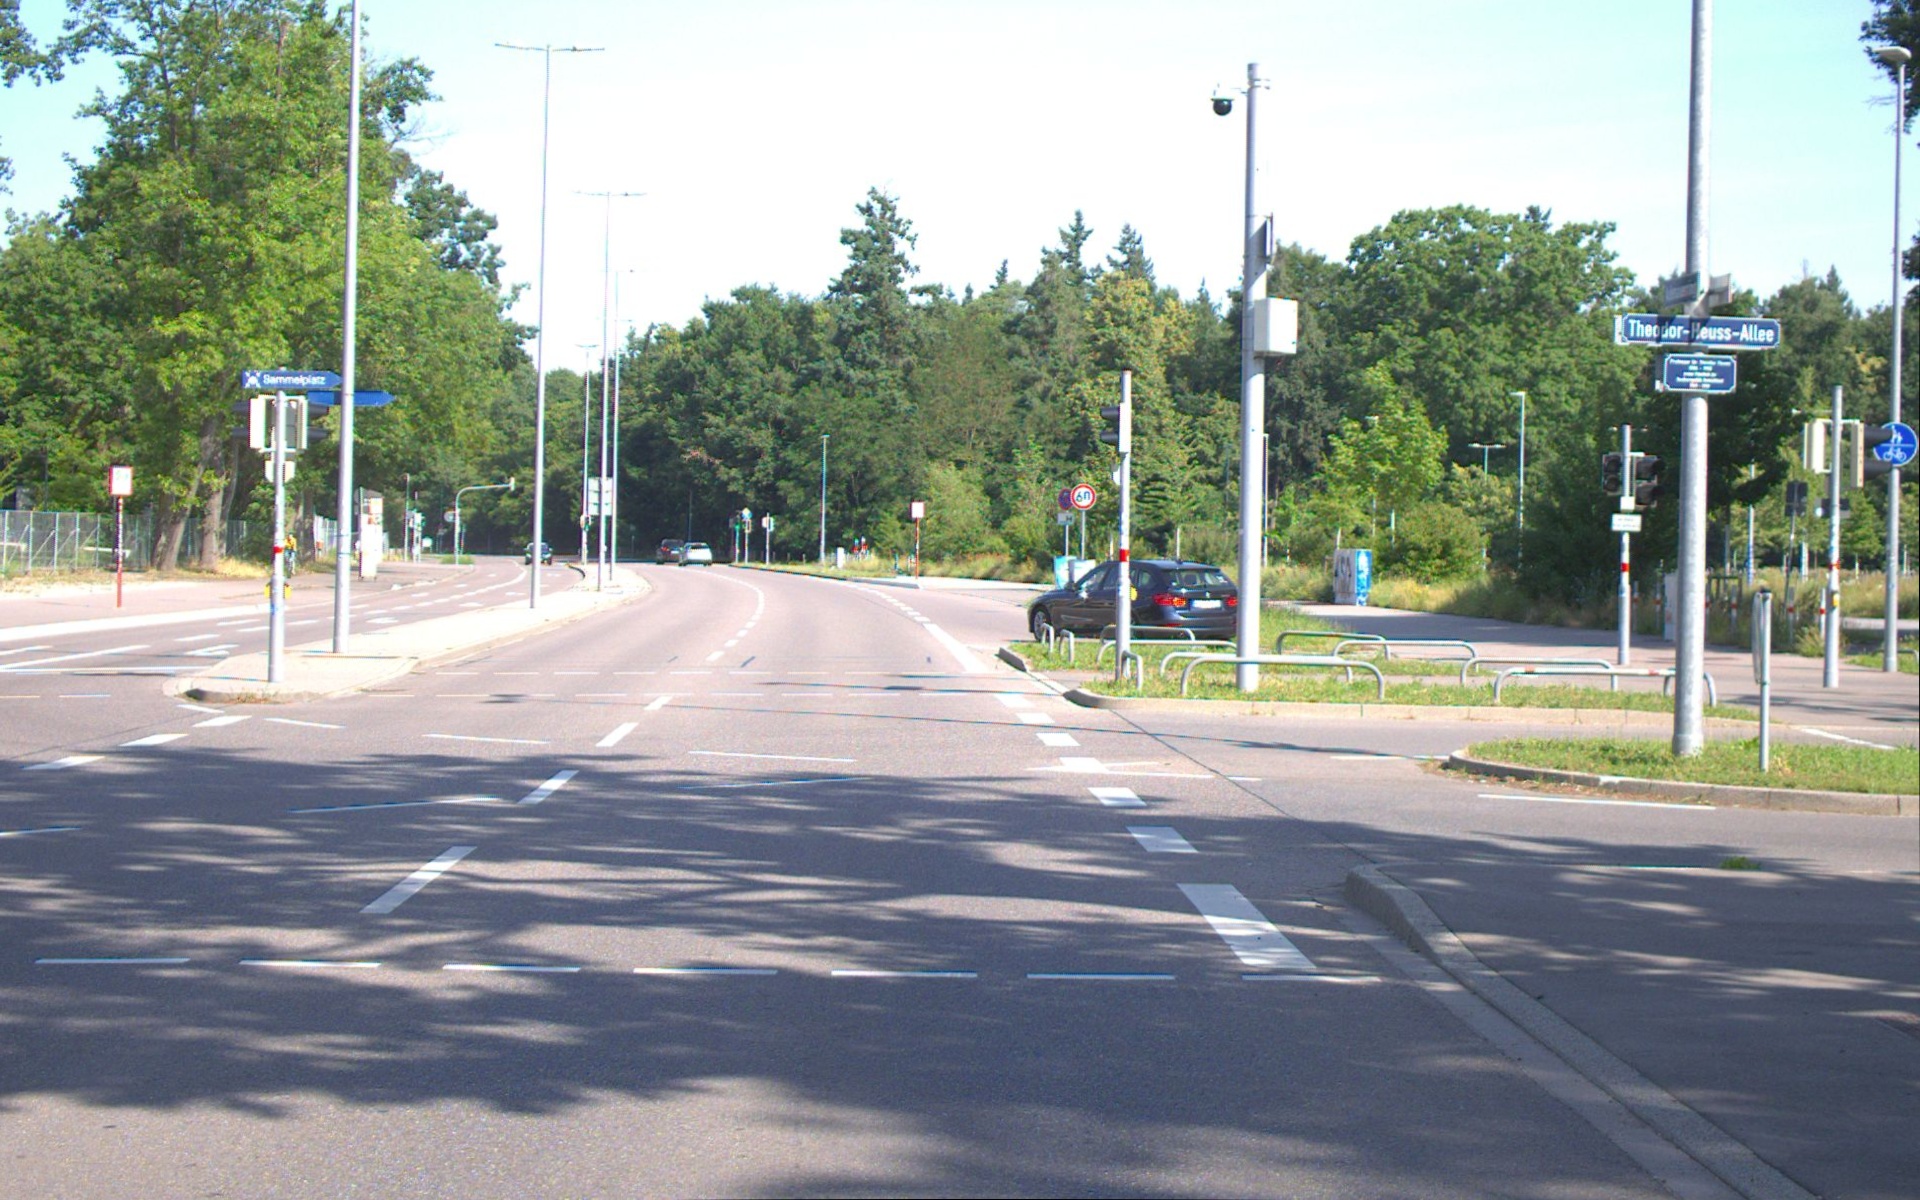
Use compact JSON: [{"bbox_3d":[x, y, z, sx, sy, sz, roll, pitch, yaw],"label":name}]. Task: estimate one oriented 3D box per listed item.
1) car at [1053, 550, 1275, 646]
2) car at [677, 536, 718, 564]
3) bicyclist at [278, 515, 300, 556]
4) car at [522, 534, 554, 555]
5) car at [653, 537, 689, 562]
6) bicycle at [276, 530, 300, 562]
[{"bbox_3d":[3.245,-0.055,55.683,1.940,1.415,4.294,1,1,-21],"label":"car"},{"bbox_3d":[-16.659,-3.153,218.013,1.993,1.744,4.001,1,1,-12],"label":"car"},{"bbox_3d":[-24.614,-2.363,126.137,0.659,1.462,1.057,2,1,-6],"label":"bicyclist"},{"bbox_3d":[-28.817,-3.774,234.795,1.810,1.383,4.163,-1,1,-12],"label":"car"},{"bbox_3d":[-19.684,-3.443,234.252,1.993,1.590,4.001,1,1,-11],"label":"car"},{"bbox_3d":[-24.647,-1.988,126.079,0.659,1.132,1.879,2,1,-6],"label":"bicycle"}]
